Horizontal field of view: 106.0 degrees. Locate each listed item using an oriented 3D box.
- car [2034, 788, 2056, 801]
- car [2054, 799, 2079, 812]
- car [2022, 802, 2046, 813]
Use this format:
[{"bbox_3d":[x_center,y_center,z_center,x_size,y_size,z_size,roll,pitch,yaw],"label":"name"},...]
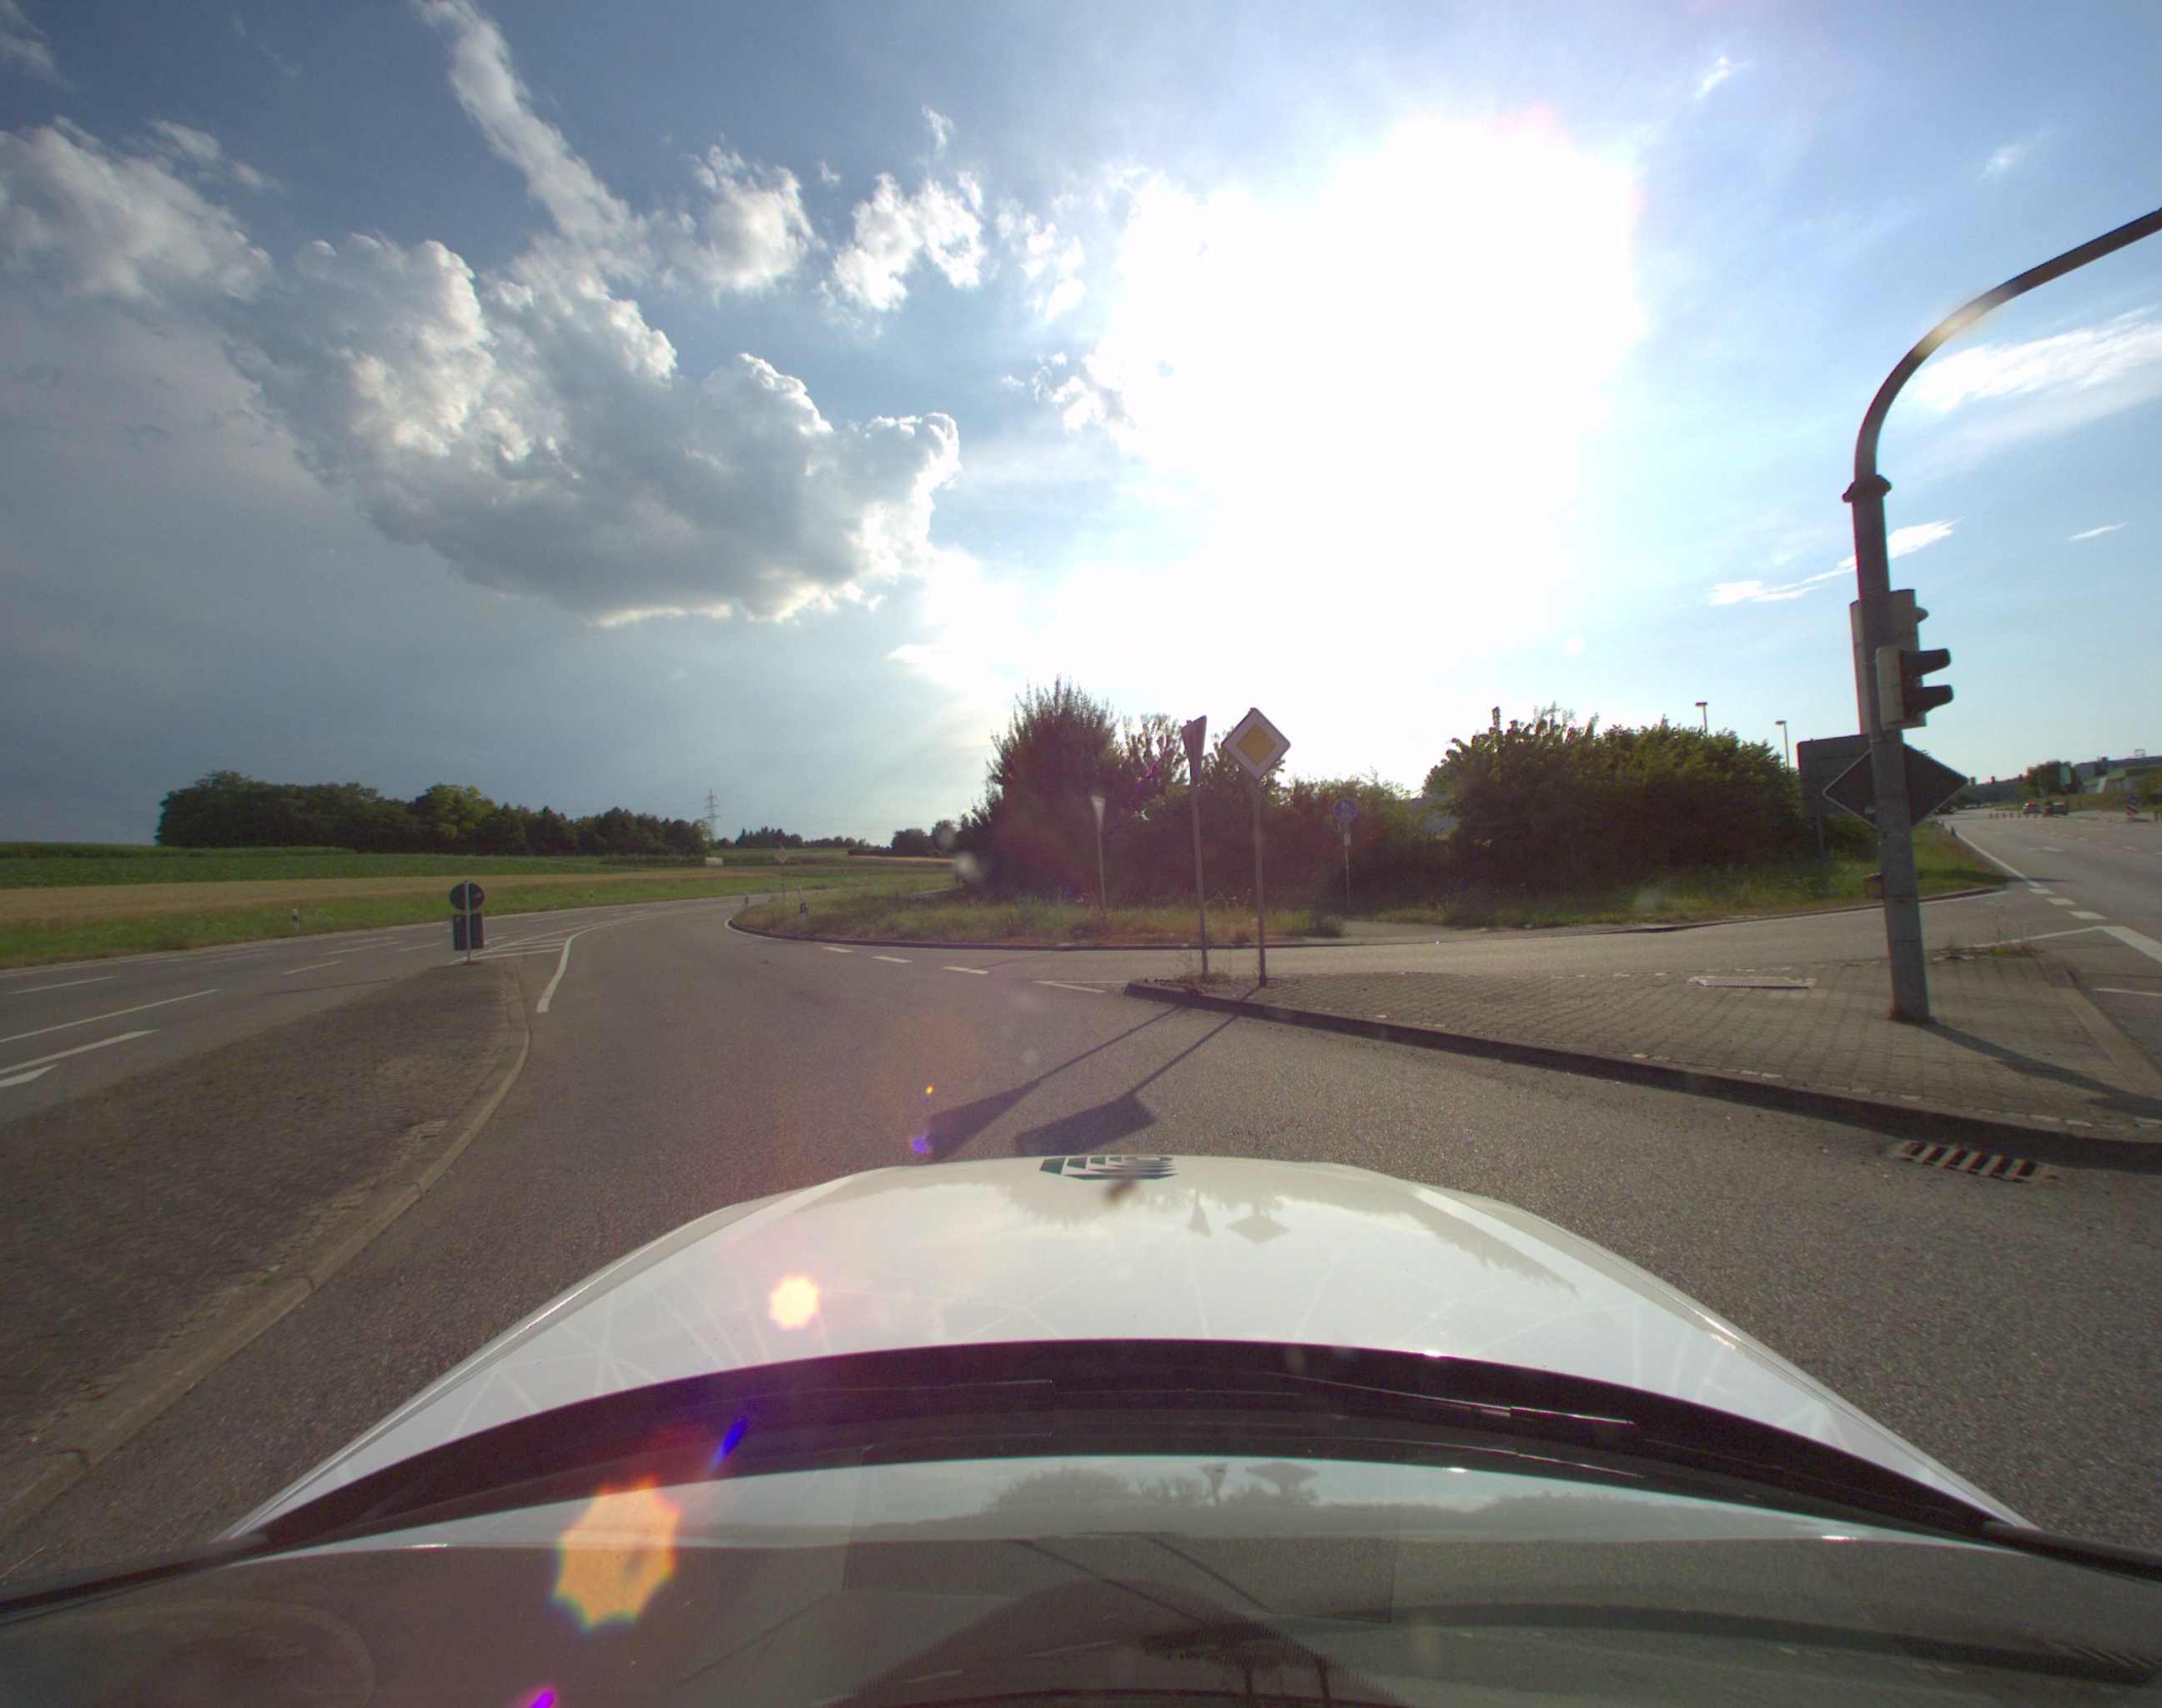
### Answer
[{"bbox_3d":[174.875,-10.771,147.764,1.974,2.014,4.025,-3,-1,42],"label":"car"},{"bbox_3d":[116.240,-5.708,96.093,3.067,1.449,1.536,-1,-1,-44],"label":"car"},{"bbox_3d":[136.530,-6.614,116.693,1.724,1.352,3.223,-2,-1,42],"label":"car"}]
